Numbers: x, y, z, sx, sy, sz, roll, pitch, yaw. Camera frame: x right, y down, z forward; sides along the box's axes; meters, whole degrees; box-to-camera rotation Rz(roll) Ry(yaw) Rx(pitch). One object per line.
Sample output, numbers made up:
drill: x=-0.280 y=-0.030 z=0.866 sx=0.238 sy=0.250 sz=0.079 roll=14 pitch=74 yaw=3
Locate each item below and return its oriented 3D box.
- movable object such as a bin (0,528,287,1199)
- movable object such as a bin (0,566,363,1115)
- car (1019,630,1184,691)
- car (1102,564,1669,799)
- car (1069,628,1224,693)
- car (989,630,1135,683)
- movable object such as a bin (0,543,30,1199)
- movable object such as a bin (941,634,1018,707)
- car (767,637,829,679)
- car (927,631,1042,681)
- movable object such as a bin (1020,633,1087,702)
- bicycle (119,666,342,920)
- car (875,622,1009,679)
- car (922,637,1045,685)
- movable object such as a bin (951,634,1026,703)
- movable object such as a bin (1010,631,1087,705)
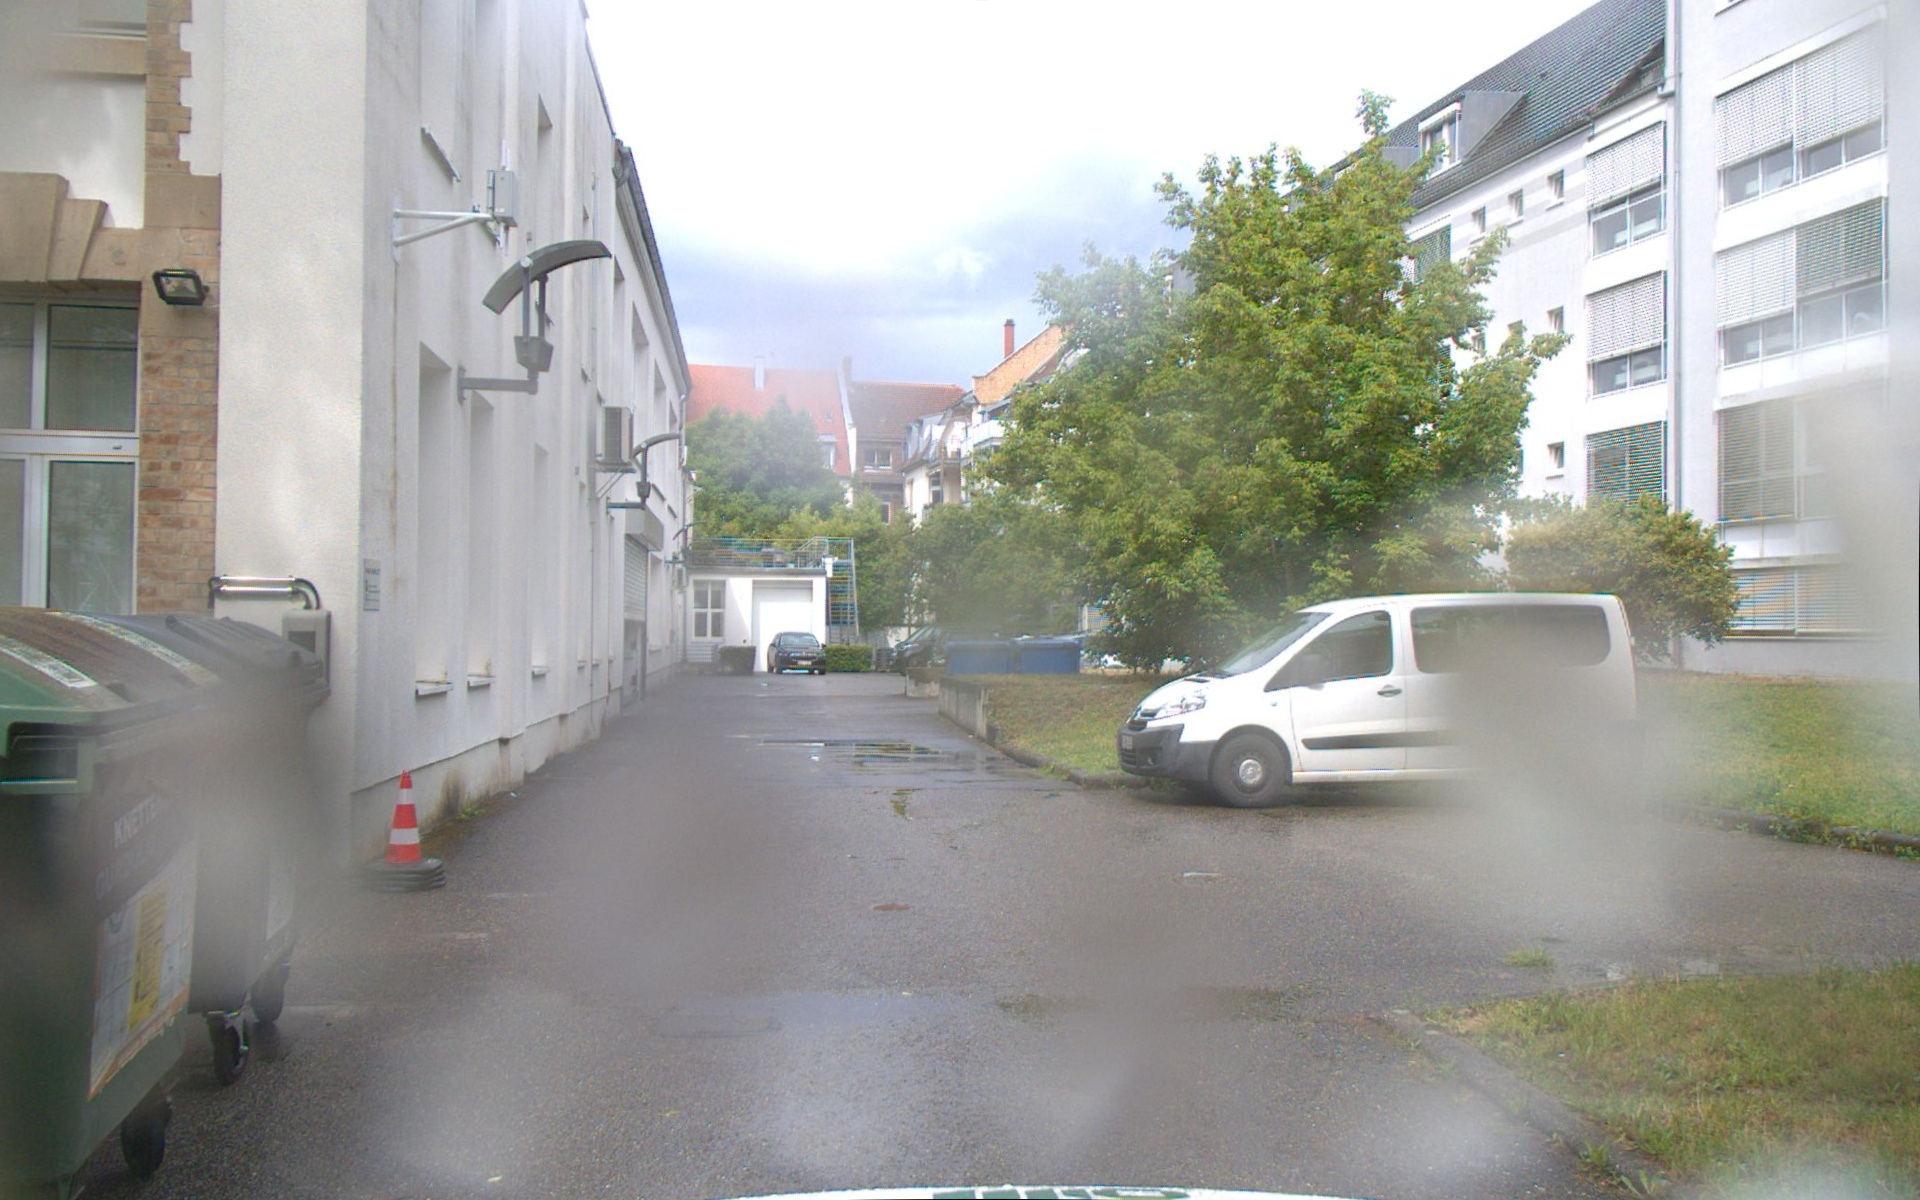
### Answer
movable object such as a bin: x=-2.316 y=0.639 z=3.848 sx=1.144 sy=1.509 sz=1.492 roll=0 pitch=-2 yaw=-13
movable object such as a bin: x=-2.659 y=0.686 z=5.387 sx=1.144 sy=1.509 sz=1.589 roll=0 pitch=-2 yaw=-13
car: x=3.631 y=1.543 z=42.747 sx=3.916 sy=1.471 sz=1.801 roll=0 pitch=-2 yaw=-11
car: x=3.906 y=0.777 z=15.683 sx=4.779 sy=1.960 sz=2.096 roll=2 pitch=-3 yaw=-6
car: x=4.480 y=1.456 z=39.895 sx=3.353 sy=1.452 sz=1.683 roll=-1 pitch=-2 yaw=-11
car: x=2.930 y=1.622 z=47.826 sx=3.918 sy=1.484 sz=1.767 roll=0 pitch=-2 yaw=-13
movable object such as a bin: x=-2.228 y=0.632 z=2.369 sx=1.144 sy=1.509 sz=1.398 roll=1 pitch=-1 yaw=-12
movable object such as a bin: x=0.353 y=1.292 z=30.741 sx=1.311 sy=1.314 sz=1.094 roll=0 pitch=-1 yaw=-6
car: x=-5.919 y=2.084 z=60.190 sx=1.943 sy=1.469 sz=3.990 roll=1 pitch=-1 yaw=-10
car: x=0.858 y=1.992 z=58.799 sx=3.837 sy=1.717 sz=1.813 roll=0 pitch=-2 yaw=-10
movable object such as a bin: x=1.839 y=1.326 z=32.716 sx=1.163 sy=1.327 sz=1.105 roll=0 pitch=-2 yaw=-7
bicycle: x=-3.604 y=0.904 z=8.292 sx=0.603 sy=1.136 sz=1.517 roll=0 pitch=-2 yaw=-7
car: x=-0.687 y=1.854 z=61.297 sx=4.564 sy=2.038 sz=2.213 roll=0 pitch=-1 yaw=-18
car: x=0.779 y=2.040 z=55.468 sx=3.841 sy=1.540 sz=1.746 roll=0 pitch=-2 yaw=-13
movable object such as a bin: x=0.543 y=1.337 z=32.442 sx=1.345 sy=1.327 sz=1.081 roll=0 pitch=-2 yaw=-6
movable object such as a bin: x=1.644 y=1.265 z=30.983 sx=1.268 sy=1.360 sz=1.195 roll=0 pitch=-2 yaw=-6
